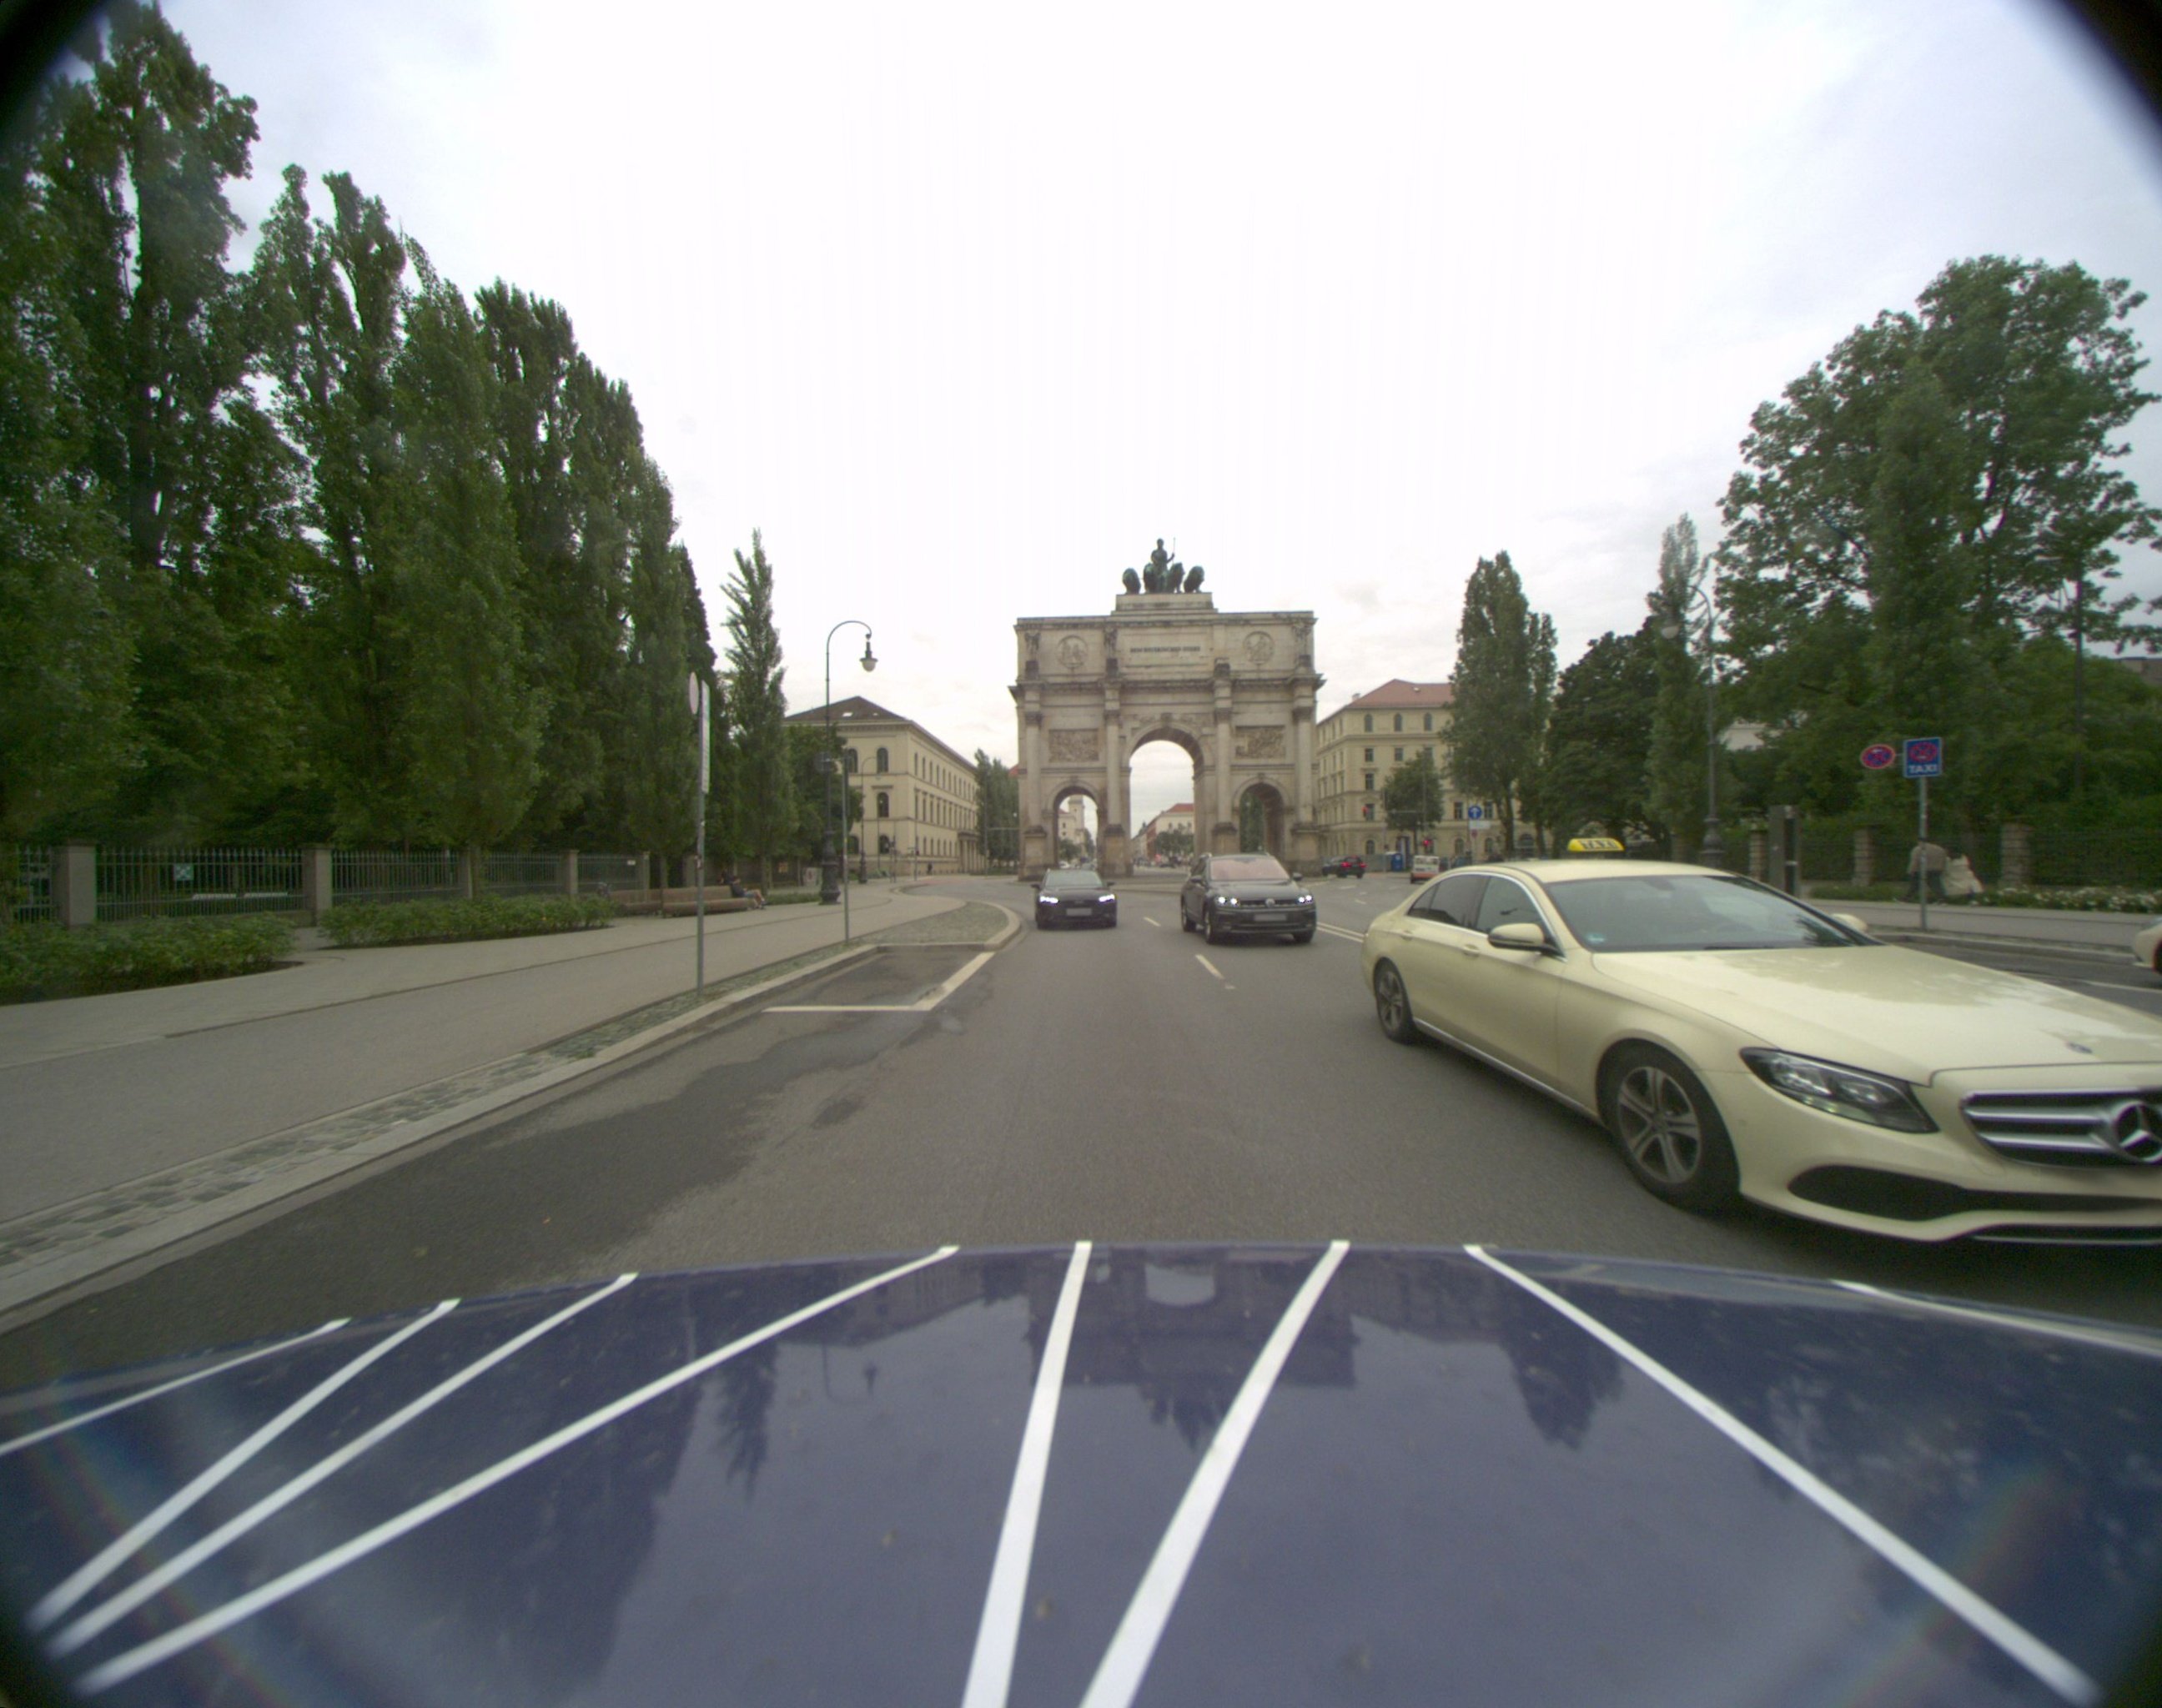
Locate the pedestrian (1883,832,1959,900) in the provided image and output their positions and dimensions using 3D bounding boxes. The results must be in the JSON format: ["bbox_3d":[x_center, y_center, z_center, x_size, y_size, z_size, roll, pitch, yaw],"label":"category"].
[{"bbox_3d":[21.317,0.302,19.304,0.846,1.668,0.967,-1,0,8],"label":"pedestrian"}]

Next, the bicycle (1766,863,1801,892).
[{"bbox_3d":[27.229,0.900,29.433,1.742,1.058,0.635,-1,0,-35],"label":"bicycle"}]

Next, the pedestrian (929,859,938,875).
[{"bbox_3d":[-18.722,1.701,96.374,0.944,2.002,1.003,-1,0,3],"label":"pedestrian"}]

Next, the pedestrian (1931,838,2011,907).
[{"bbox_3d":[22.136,0.458,18.920,0.846,1.668,0.967,-1,0,8],"label":"pedestrian"}]

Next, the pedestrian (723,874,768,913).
[{"bbox_3d":[-11.561,1.348,26.239,1.331,1.267,0.807,-2,0,-20],"label":"pedestrian"}]

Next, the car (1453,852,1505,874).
[{"bbox_3d":[38.414,0.902,73.434,3.996,2.002,2.000,-1,0,2],"label":"car"}]

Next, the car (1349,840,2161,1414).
[{"bbox_3d":[3.369,0.772,4.510,1.919,1.566,4.689,-3,0,1],"label":"car"}]

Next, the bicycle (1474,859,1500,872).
[{"bbox_3d":[32.871,0.937,61.531,0.645,0.967,1.757,-1,0,-41],"label":"bicycle"}]

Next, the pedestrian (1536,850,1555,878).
[{"bbox_3d":[30.416,0.660,49.747,0.917,1.775,0.752,-1,0,-32],"label":"pedestrian"}]

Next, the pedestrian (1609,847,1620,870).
[{"bbox_3d":[46.205,0.380,65.805,0.534,2.002,0.594,-1,0,-8],"label":"pedestrian"}]

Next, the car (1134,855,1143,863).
[{"bbox_3d":[15.186,1.228,201.436,1.998,2.002,4.395,-1,0,2],"label":"car"}]

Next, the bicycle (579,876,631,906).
[{"bbox_3d":[-21.906,1.682,35.060,0.674,1.232,2.999,0,0,-4],"label":"bicycle"}]

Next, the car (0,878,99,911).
[{"bbox_3d":[-54.846,2.142,39.970,4.261,1.565,1.952,-2,0,6],"label":"car"}]

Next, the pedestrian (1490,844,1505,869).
[{"bbox_3d":[33.762,0.173,61.571,0.796,2.002,0.754,-1,0,-33],"label":"pedestrian"}]

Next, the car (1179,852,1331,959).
[{"bbox_3d":[3.093,0.827,14.471,1.953,1.615,4.412,-3,0,2],"label":"car"}]

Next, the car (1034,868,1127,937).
[{"bbox_3d":[-0.140,1.109,18.951,1.923,1.320,4.409,-3,0,-5],"label":"car"}]

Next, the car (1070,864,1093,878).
[{"bbox_3d":[0.090,2.190,98.987,1.785,1.739,4.326,-1,0,18],"label":"car"}]

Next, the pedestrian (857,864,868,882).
[{"bbox_3d":[-20.073,1.732,69.790,0.738,1.589,0.818,-1,0,3],"label":"pedestrian"}]

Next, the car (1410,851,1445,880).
[{"bbox_3d":[23.538,0.725,51.556,2.000,1.844,4.999,1,1,26],"label":"car"}]

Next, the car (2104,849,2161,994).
[{"bbox_3d":[12.383,0.743,6.106,1.822,1.550,4.859,1,0,2],"label":"car"}]

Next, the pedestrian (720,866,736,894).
[{"bbox_3d":[-20.923,1.557,45.068,0.591,1.610,0.536,-2,1,2],"label":"pedestrian"}]

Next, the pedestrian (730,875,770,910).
[{"bbox_3d":[-12.156,1.408,27.932,1.268,1.209,0.574,-2,1,-28],"label":"pedestrian"}]

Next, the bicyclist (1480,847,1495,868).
[{"bbox_3d":[32.889,0.277,61.456,0.645,1.699,0.858,-1,0,-40],"label":"bicyclist"}]

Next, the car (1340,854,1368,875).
[{"bbox_3d":[22.511,0.827,62.744,1.783,1.662,4.005,-1,0,15],"label":"car"}]

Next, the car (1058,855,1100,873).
[{"bbox_3d":[-0.217,1.118,83.948,4.321,1.846,1.886,-2,0,-39],"label":"car"}]

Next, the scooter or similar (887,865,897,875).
[{"bbox_3d":[-21.609,1.836,86.826,0.567,1.134,1.657,-1,0,4],"label":"scooter or similar"}]

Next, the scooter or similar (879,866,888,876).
[{"bbox_3d":[-22.494,1.937,86.527,0.567,1.134,1.657,-1,0,4],"label":"scooter or similar"}]

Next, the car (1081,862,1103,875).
[{"bbox_3d":[1.479,1.960,103.687,1.785,1.739,4.326,-1,0,18],"label":"car"}]

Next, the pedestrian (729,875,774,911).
[{"bbox_3d":[-11.832,1.373,27.273,1.371,1.200,0.806,-2,0,-27],"label":"pedestrian"}]
